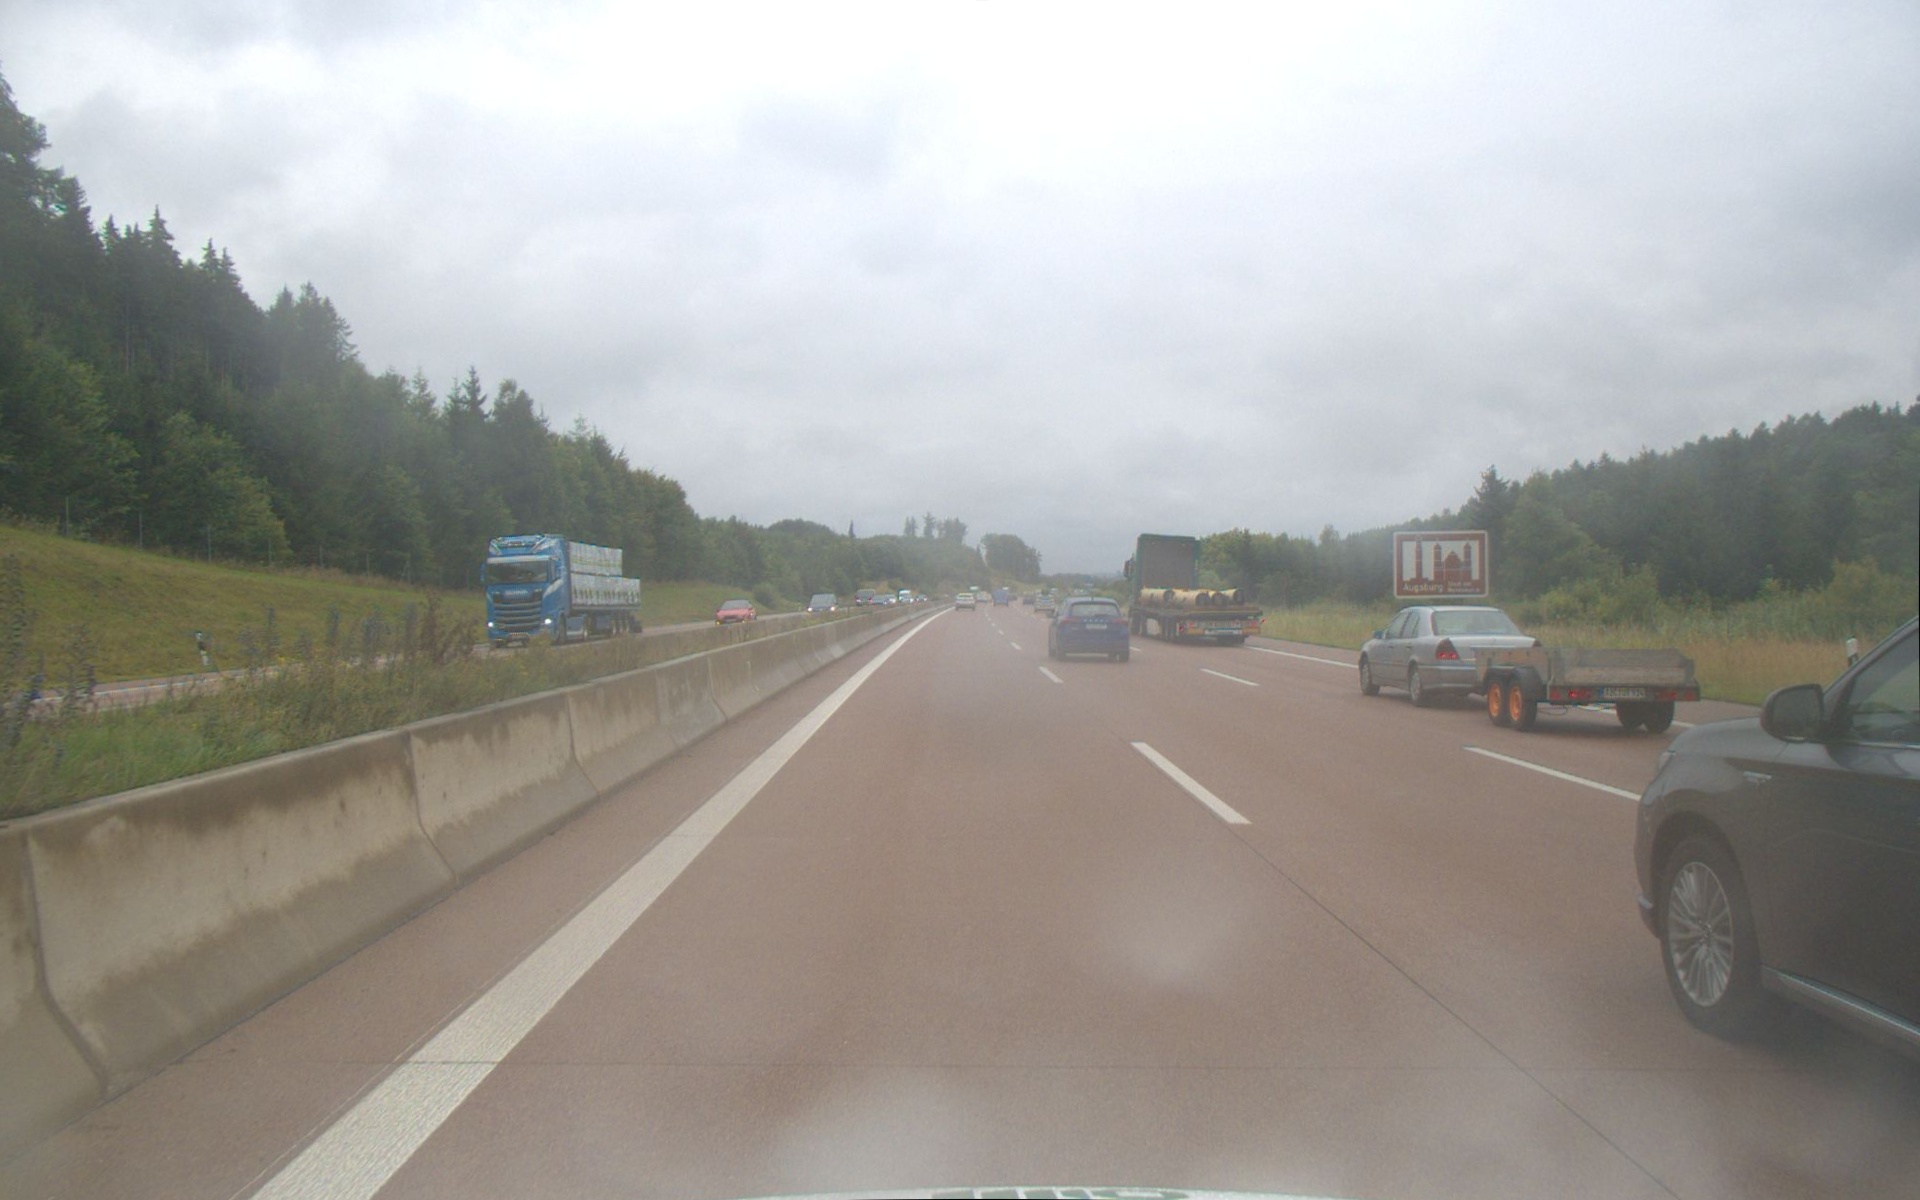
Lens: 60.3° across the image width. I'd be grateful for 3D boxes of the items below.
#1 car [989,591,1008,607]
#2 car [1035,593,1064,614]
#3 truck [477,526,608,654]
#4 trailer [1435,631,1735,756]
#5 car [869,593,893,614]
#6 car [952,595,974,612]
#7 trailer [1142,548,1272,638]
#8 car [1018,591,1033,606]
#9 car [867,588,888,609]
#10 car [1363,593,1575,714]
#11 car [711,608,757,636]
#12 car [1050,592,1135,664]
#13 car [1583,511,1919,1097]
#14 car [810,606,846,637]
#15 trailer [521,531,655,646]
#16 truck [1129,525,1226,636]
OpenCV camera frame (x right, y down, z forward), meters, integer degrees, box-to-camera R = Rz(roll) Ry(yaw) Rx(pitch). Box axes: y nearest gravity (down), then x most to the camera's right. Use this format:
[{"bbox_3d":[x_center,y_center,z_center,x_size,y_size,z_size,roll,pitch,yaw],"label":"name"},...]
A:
[{"bbox_3d":[4.775,-0.113,206.513,2.274,1.780,4.877,1,-1,1],"label":"car"},{"bbox_3d":[7.810,0.305,145.114,2.274,1.780,4.877,1,-1,1],"label":"car"},{"bbox_3d":[-15.771,-0.417,63.081,2.904,4.395,7.648,-4,1,-1],"label":"truck"},{"bbox_3d":[7.426,1.055,20.208,1.931,1.187,4.639,1,0,0],"label":"trailer"},{"bbox_3d":[-7.575,0.357,158.703,1.739,1.889,5.322,1,-1,2],"label":"car"},{"bbox_3d":[0.239,0.330,153.733,1.836,1.470,4.875,1,-1,-2],"label":"car"},{"bbox_3d":[8.207,-0.130,56.393,2.822,2.722,11.398,1,-1,1],"label":"trailer"},{"bbox_3d":[9.139,-0.214,230.873,1.952,2.049,4.000,1,-1,0],"label":"car"},{"bbox_3d":[-9.390,-0.141,188.114,2.059,2.319,5.394,1,-1,0],"label":"car"},{"bbox_3d":[7.528,0.759,24.989,1.663,1.640,4.976,0,-1,0],"label":"car"},{"bbox_3d":[-12.001,1.189,87.973,1.781,1.393,5.113,1,-1,-1],"label":"car"},{"bbox_3d":[3.121,0.673,39.621,1.735,1.591,4.146,1,-1,1],"label":"car"},{"bbox_3d":[3.643,0.571,4.125,1.953,1.620,5.819,1,-1,0],"label":"car"},{"bbox_3d":[-8.254,1.347,103.900,1.781,1.874,6.236,1,-1,-1],"label":"car"},{"bbox_3d":[-15.906,-0.545,71.924,2.874,4.349,12.943,-4,1,-1],"label":"trailer"},{"bbox_3d":[8.303,-0.653,63.952,2.837,4.034,6.988,1,-1,0],"label":"truck"}]
